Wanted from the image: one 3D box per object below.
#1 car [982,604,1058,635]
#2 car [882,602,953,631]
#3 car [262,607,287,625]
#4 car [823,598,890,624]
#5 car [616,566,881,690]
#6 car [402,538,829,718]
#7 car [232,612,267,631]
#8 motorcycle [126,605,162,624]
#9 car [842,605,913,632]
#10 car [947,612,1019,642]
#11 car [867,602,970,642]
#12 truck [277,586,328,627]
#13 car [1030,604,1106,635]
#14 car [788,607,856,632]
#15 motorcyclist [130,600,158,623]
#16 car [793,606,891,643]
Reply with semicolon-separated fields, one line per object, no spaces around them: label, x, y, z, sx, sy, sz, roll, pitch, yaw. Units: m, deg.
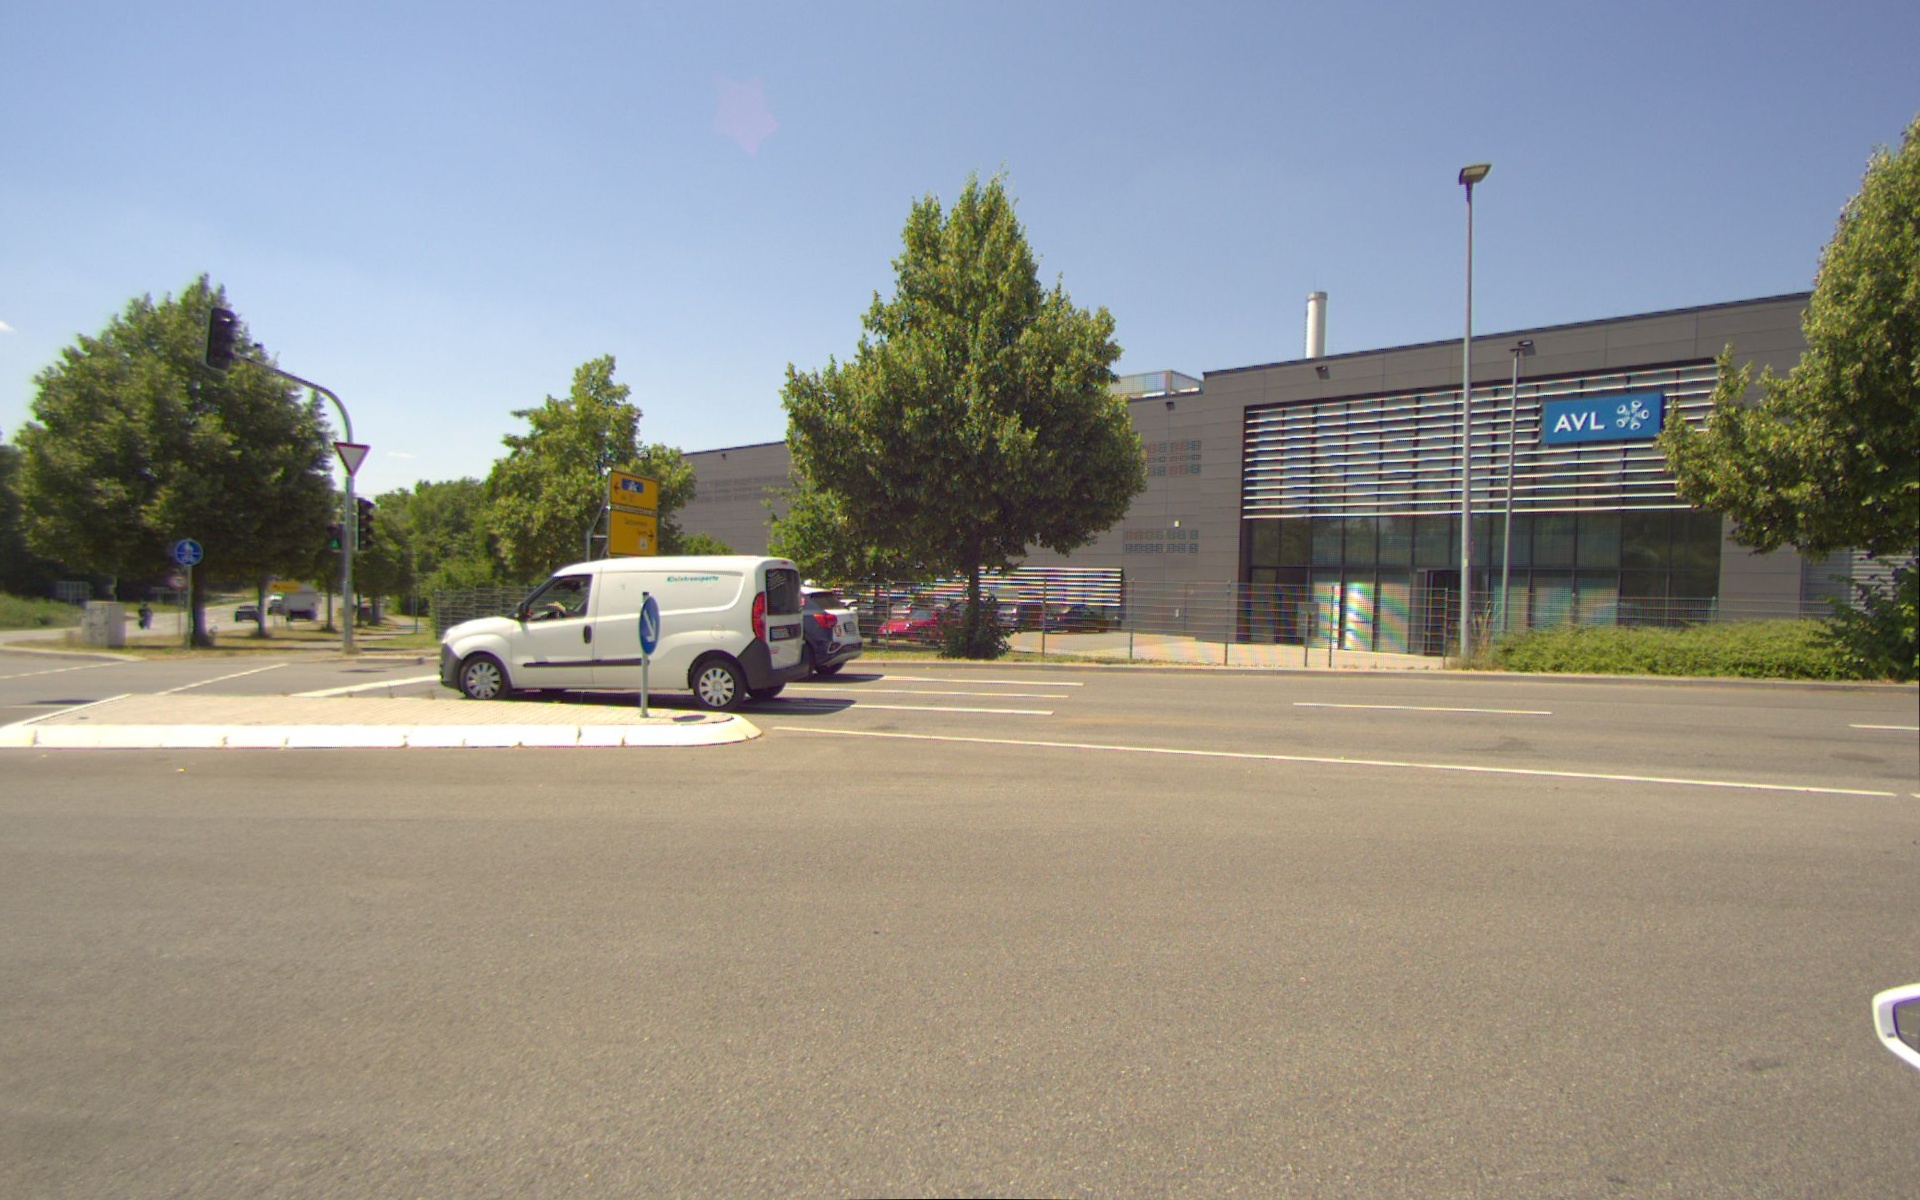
car;3.113;1.029;51.449;1.969;1.505;3.984;-2;-2;38
car;-2.385;0.932;57.093;1.890;1.537;3.983;-2;0;38
car;-80.703;1.887;118.246;1.975;2.040;3.971;1;-2;-28
car;-6.207;0.697;60.457;1.744;1.479;3.984;-2;-2;38
car;-3.392;0.392;16.516;3.786;1.730;2.000;2;4;9
car;-4.282;0.251;12.892;4.772;1.969;2.000;2;4;9
car;-65.728;2.004;92.978;1.974;1.773;3.973;0;-2;-27
motorcycle;-50.364;0.882;62.040;0.848;1.157;2.164;0;0;-13
car;-4.801;1.104;58.658;1.969;1.505;3.984;-2;-2;38
car;1.256;1.449;53.226;1.792;1.549;3.984;-2;-2;38
car;-1.599;0.876;39.689;1.969;1.505;3.984;-2;-2;38
truck;-64.278;0.706;98.374;3.232;3.890;6.166;0;-2;-24
car;5.426;0.988;50.213;1.969;1.505;3.984;-2;-2;38
car;-8.492;1.234;62.086;1.969;1.505;3.984;-2;-2;38
motorcyclist;-50.360;0.726;62.012;0.860;1.430;1.173;0;-2;-13
car;-5.055;1.081;43.400;1.969;1.505;3.984;-2;-2;38
